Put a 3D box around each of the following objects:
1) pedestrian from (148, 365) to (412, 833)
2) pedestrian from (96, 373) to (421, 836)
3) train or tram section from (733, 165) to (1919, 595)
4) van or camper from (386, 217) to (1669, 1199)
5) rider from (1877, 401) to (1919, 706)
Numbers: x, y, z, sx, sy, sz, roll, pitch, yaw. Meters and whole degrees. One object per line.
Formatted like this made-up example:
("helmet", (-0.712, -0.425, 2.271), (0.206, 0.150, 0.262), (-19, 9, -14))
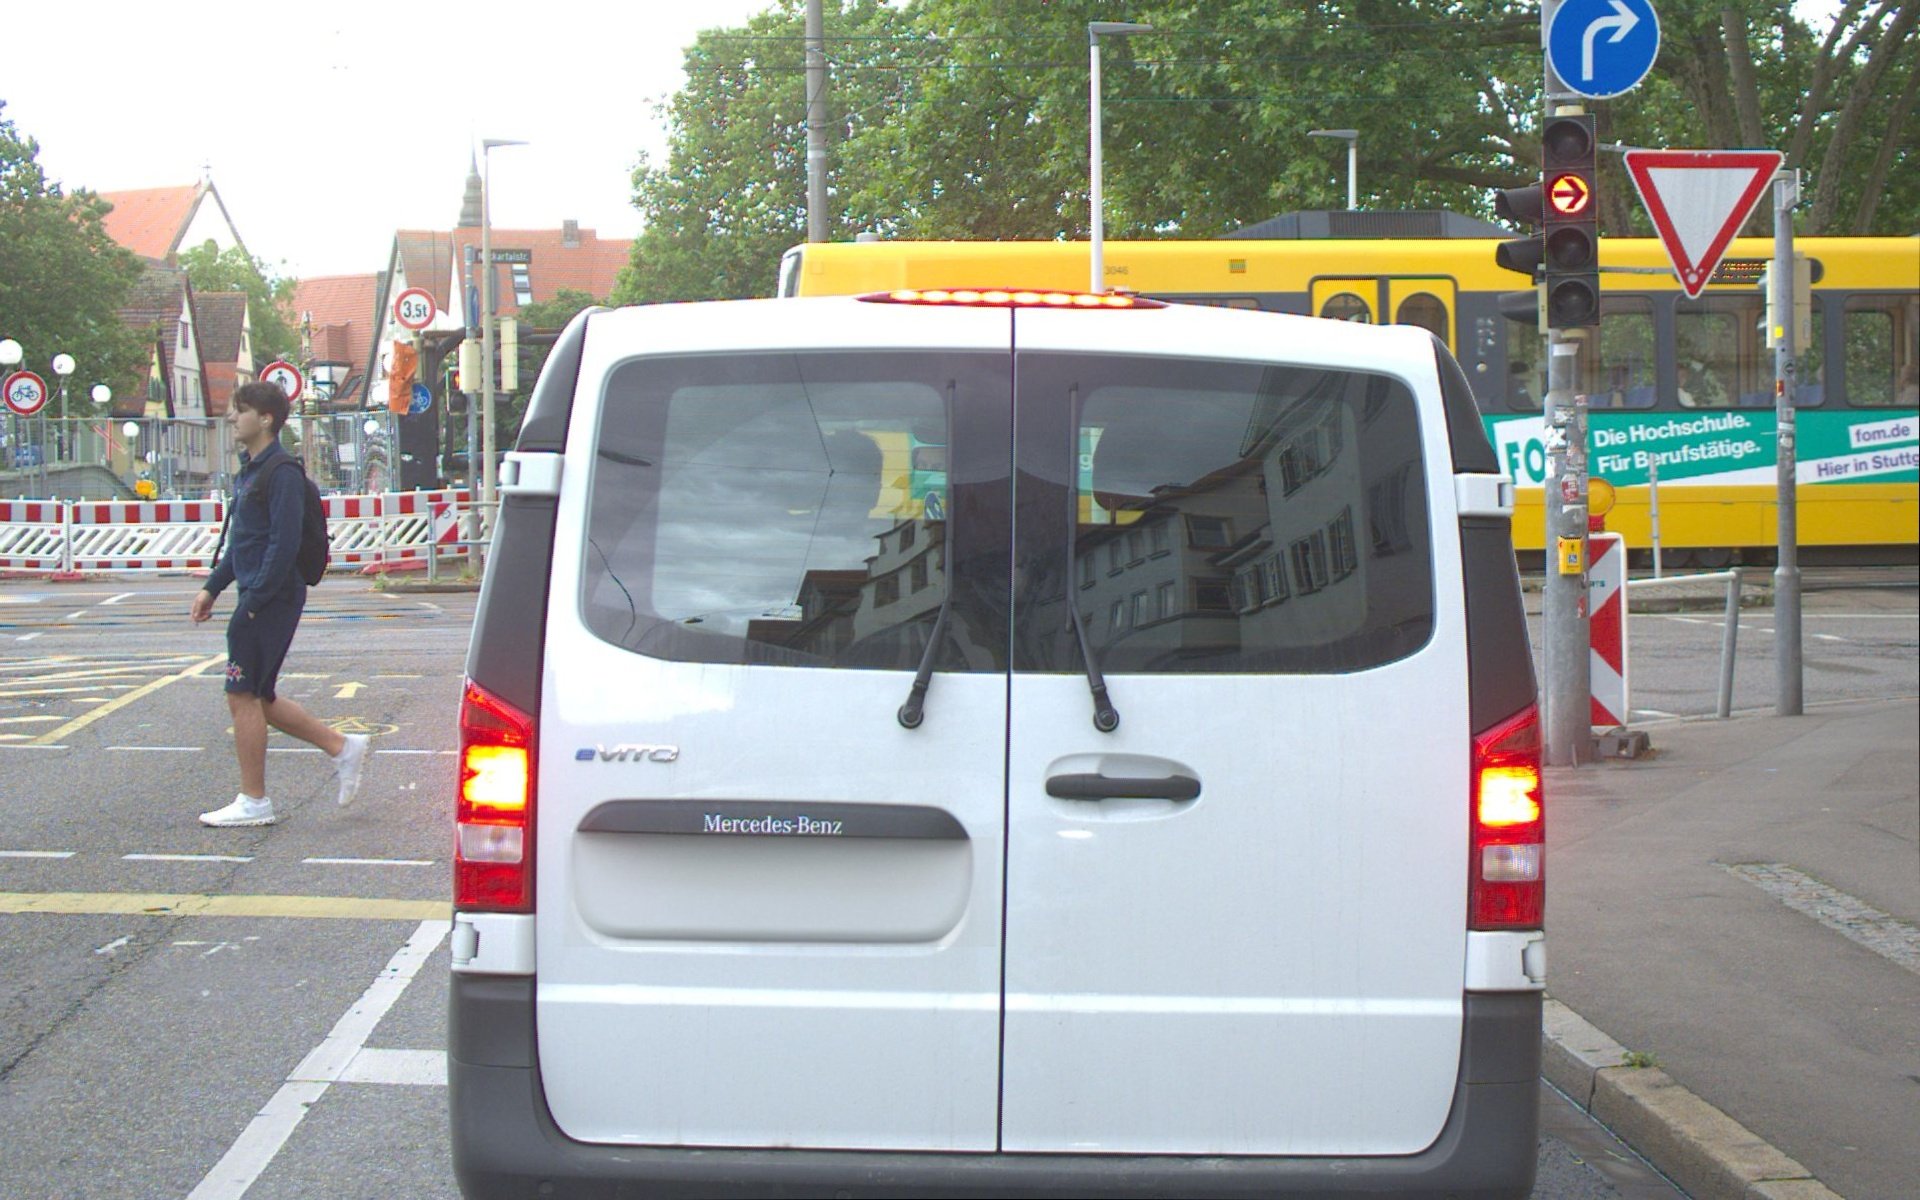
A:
("pedestrian", (-2.865, -0.005, 14.452), (1.003, 1.908, 0.625), (1, 1, -18))
("pedestrian", (-2.948, -0.017, 14.478), (1.150, 1.849, 0.679), (-3, 6, -39))
("train or tram section", (7.408, -2.223, 34.519), (19.221, 3.989, 3.310), (0, 4, -5))
("van or camper", (-0.007, 0.329, 7.465), (1.937, 1.918, 4.442), (1, 2, -3))
("rider", (6.195, -0.308, 21.015), (0.795, 1.841, 0.720), (-4, 1, -44))
